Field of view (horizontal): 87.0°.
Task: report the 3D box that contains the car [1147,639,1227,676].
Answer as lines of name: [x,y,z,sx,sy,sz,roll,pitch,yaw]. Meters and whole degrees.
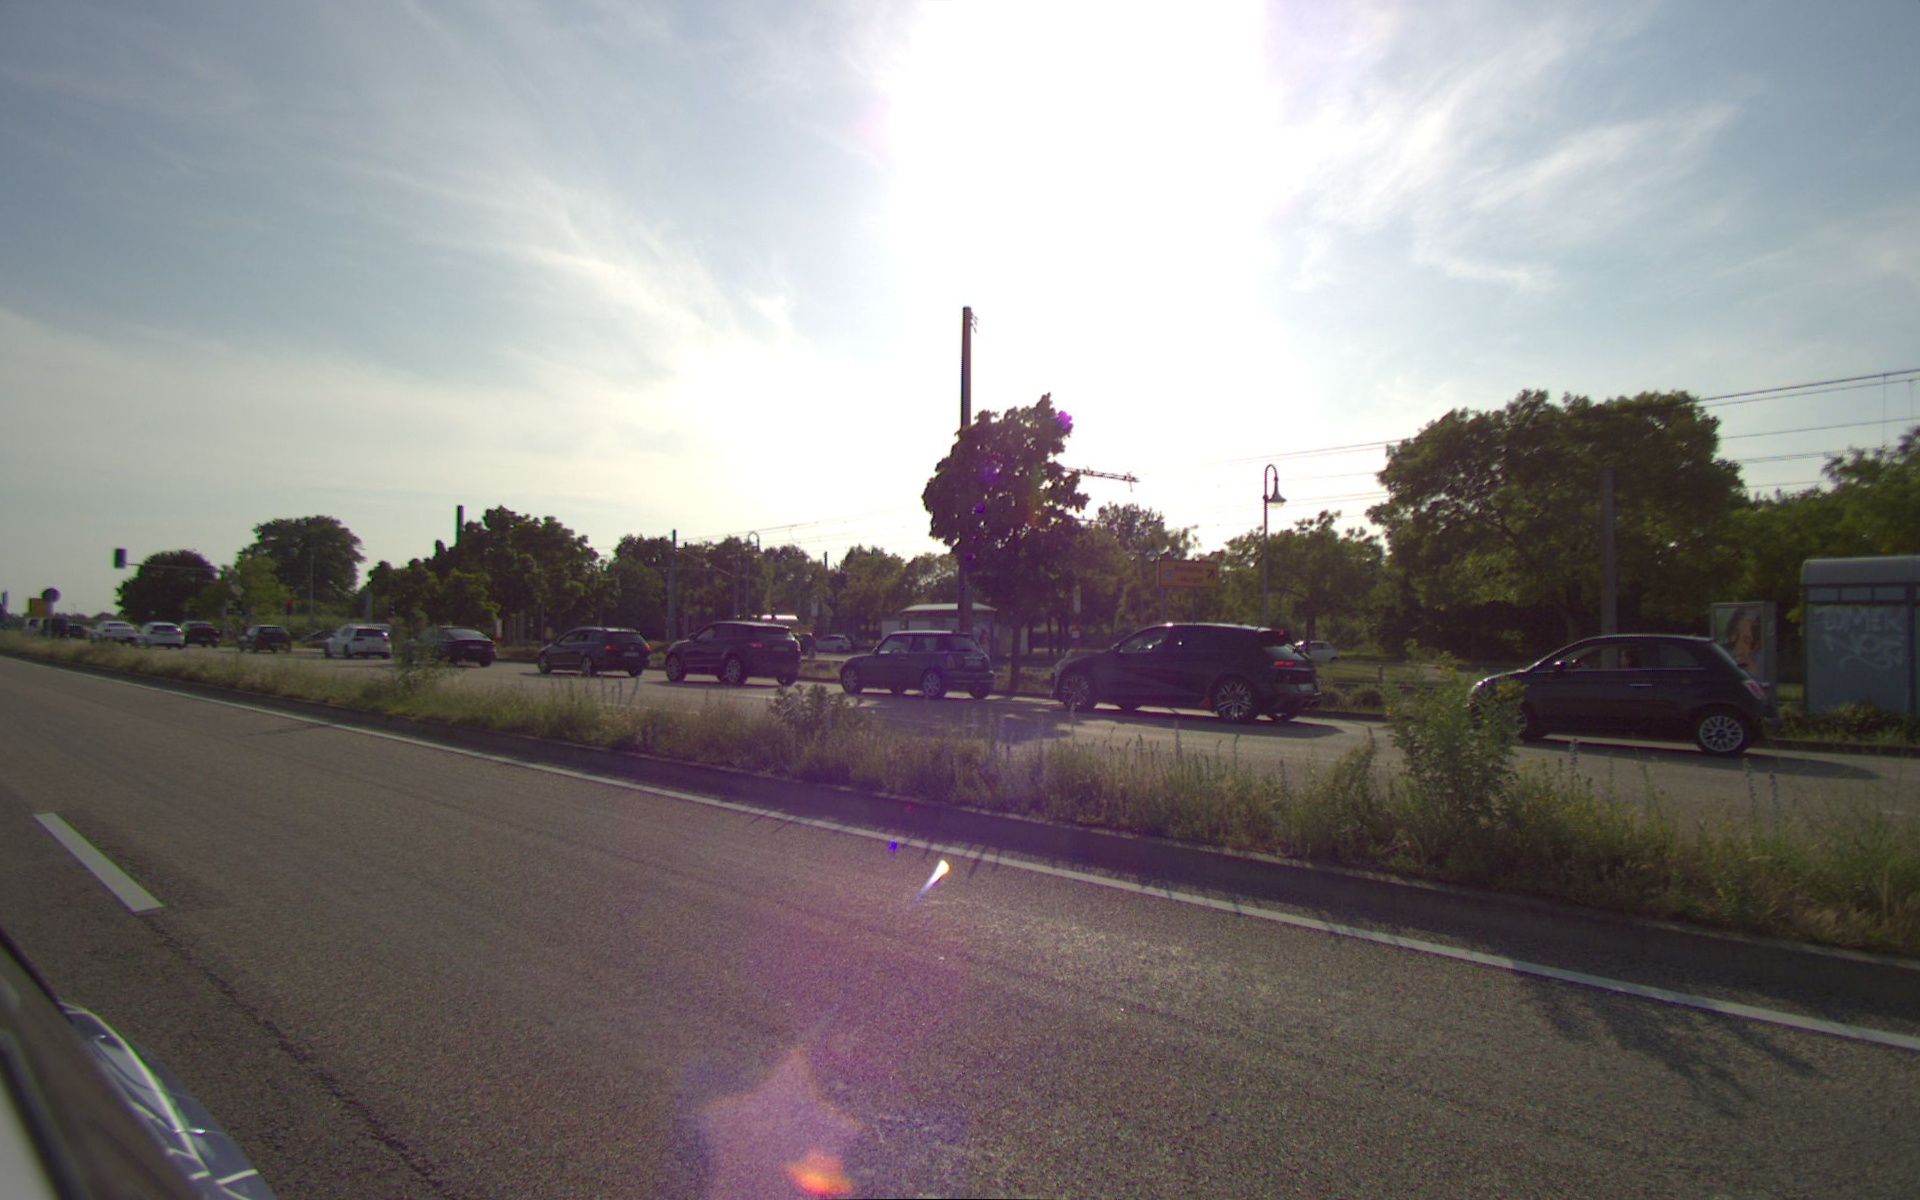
car: [11.630,2.911,51.688,3.937,1.674,2.003,-1,-1,-40]

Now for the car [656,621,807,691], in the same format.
car: [-6.029,1.430,26.434,4.227,1.700,1.643,-2,-4,41]

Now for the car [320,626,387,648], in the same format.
car: [-54.895,3.323,91.676,2.250,1.901,4.786,-1,-1,36]

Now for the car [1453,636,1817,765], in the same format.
car: [8.756,1.219,13.307,3.803,1.442,1.643,-2,-4,41]

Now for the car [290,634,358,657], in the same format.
car: [-58.490,4.140,93.122,2.250,1.901,4.786,-1,-1,36]

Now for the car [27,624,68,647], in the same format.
car: [-71.821,2.810,79.663,4.528,1.759,1.838,-2,-4,42]

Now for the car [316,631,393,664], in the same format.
car: [-27.376,2.131,45.685,4.466,1.391,1.643,-2,-4,41]

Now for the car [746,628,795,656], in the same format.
car: [-13.722,3.029,73.554,1.822,1.892,3.647,-1,-1,23]

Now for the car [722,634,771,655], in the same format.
car: [-16.285,3.364,77.401,1.820,1.431,3.973,-1,-1,20]

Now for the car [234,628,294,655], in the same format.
car: [-36.916,2.199,53.626,3.998,1.391,1.643,-2,-4,41]

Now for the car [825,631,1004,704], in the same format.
car: [-1.036,1.417,21.895,3.803,1.442,1.643,-2,-4,41]

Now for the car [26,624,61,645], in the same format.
car: [-92.643,3.450,102.269,5.077,1.988,1.972,-2,-5,42]

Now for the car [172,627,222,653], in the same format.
car: [-49.411,2.591,65.528,3.998,1.602,1.778,-2,-4,41]

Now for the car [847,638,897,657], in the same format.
car: [-7.740,4.219,89.288,3.959,1.549,1.992,-1,-1,12]

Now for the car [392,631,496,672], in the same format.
car: [-19.012,1.872,37.180,4.973,1.426,1.643,-2,-4,41]

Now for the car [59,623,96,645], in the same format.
car: [-84.804,3.300,97.215,5.077,1.988,1.972,-2,-5,42]

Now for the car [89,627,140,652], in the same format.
car: [-53.075,2.463,63.490,4.582,1.519,1.733,-2,-4,42]

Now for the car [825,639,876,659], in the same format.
car: [-9.397,4.209,86.806,3.959,1.549,1.992,-1,-1,12]

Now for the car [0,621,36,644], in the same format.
car: [-81.169,2.789,86.963,5.077,1.843,1.972,-2,-5,42]

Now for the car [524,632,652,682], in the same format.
car: [-11.305,1.702,30.577,4.539,1.391,1.643,-2,-4,41]

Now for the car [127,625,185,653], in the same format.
car: [-45.355,2.187,57.065,4.293,1.481,1.799,-2,-4,42]

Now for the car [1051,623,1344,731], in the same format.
car: [3.843,1.211,16.902,4.544,1.574,1.643,-2,-4,41]
